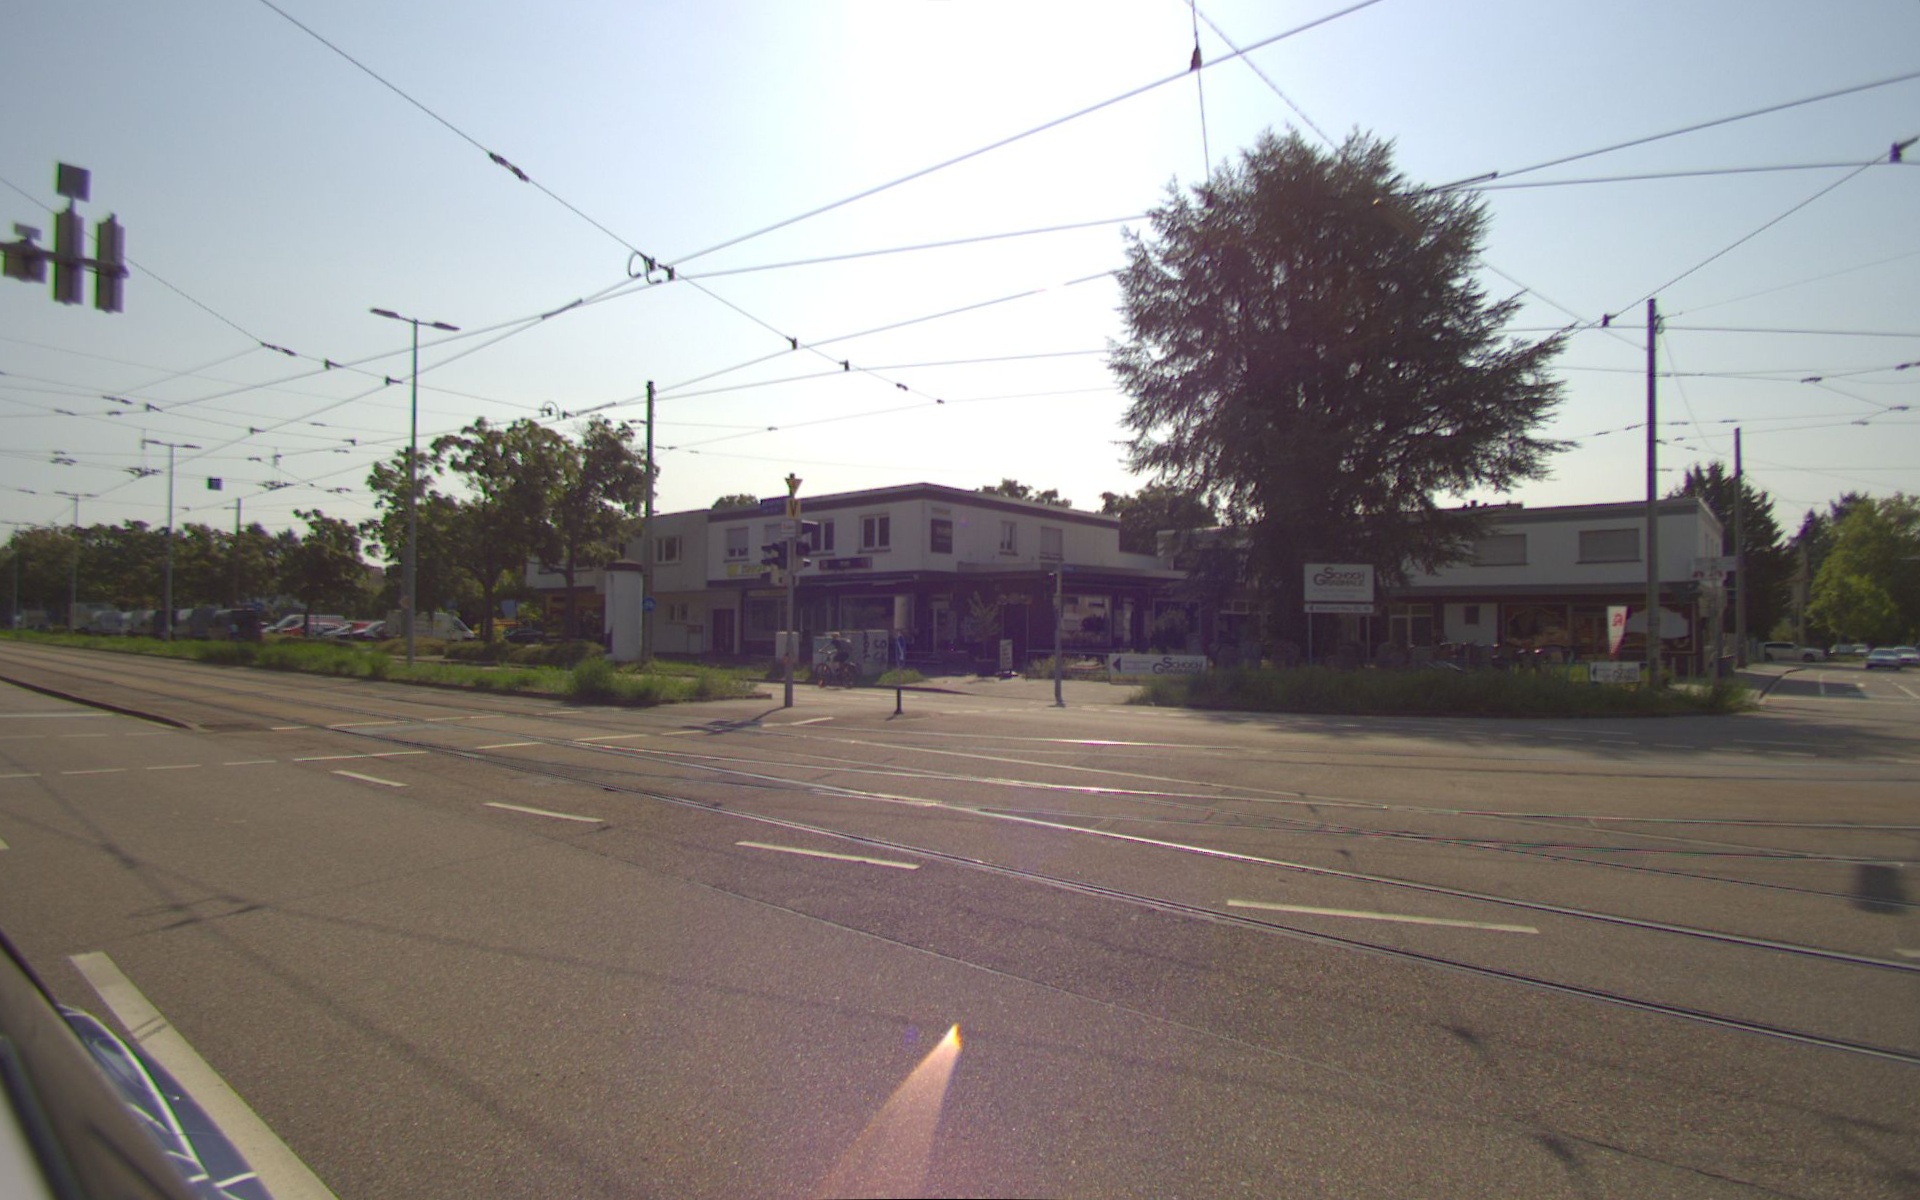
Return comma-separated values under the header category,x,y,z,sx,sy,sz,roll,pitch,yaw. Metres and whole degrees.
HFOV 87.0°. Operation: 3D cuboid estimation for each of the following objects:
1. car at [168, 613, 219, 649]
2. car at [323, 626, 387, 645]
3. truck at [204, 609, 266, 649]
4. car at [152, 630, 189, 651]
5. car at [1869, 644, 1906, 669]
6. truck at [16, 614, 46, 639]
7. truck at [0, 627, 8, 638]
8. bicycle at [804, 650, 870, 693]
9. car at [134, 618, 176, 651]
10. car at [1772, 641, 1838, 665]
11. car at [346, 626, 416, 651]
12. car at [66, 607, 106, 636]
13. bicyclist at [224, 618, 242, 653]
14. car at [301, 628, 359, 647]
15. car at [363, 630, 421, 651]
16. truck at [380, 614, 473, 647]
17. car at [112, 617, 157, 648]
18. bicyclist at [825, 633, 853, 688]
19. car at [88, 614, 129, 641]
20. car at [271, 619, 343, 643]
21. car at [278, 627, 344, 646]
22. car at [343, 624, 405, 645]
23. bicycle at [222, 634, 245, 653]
category,x,y,z,sx,sy,sz,roll,pitch,yaw
car,-57.009,2.272,75.252,6.467,2.606,1.966,-1,-2,43
car,-49.398,2.907,82.695,1.624,1.474,4.111,-2,-4,43
truck,-49.444,1.944,68.962,5.736,2.567,2.059,-1,-4,41
car,-61.914,3.139,79.337,3.834,1.564,1.725,-1,-2,44
car,62.245,3.803,67.876,1.727,1.519,3.942,-1,-5,44
truck,-122.681,3.546,133.584,8.789,3.145,2.247,-1,-5,44
truck,-145.622,4.886,153.232,3.654,1.687,1.669,-1,-4,42
bicycle,-3.543,2.047,29.048,2.208,1.189,0.568,-4,-6,43
car,-66.366,2.855,83.359,5.909,2.606,1.802,-2,-2,43
car,67.233,4.203,80.563,3.998,1.785,1.973,-1,-4,41
car,-44.675,2.986,78.125,1.632,1.798,4.354,-1,-4,40
car,-90.532,2.213,104.778,7.229,2.826,2.102,-1,-4,42
bicyclist,-44.378,2.156,61.783,0.774,2.080,0.630,-1,-5,43
car,-54.201,3.239,87.082,1.632,1.461,3.883,-1,-4,40
car,-42.596,3.081,75.955,1.632,1.437,3.370,-1,-4,40
truck,-38.636,2.244,73.403,2.258,2.189,5.434,-1,-4,40
car,-72.585,2.870,88.949,5.629,2.606,2.109,-1,-4,42
bicyclist,-3.478,1.739,29.005,0.490,1.534,0.562,-1,-5,42
car,-83.062,2.677,98.667,4.828,2.477,2.121,-1,-4,40
car,-59.921,2.870,92.965,2.051,1.940,5.132,-1,-4,40
car,-58.039,3.267,90.529,1.632,1.461,4.606,-1,-4,40
car,-46.460,2.771,80.341,1.632,1.530,3.883,-1,-4,40
bicycle,-44.199,2.634,61.576,2.266,1.099,0.707,-1,-5,45
